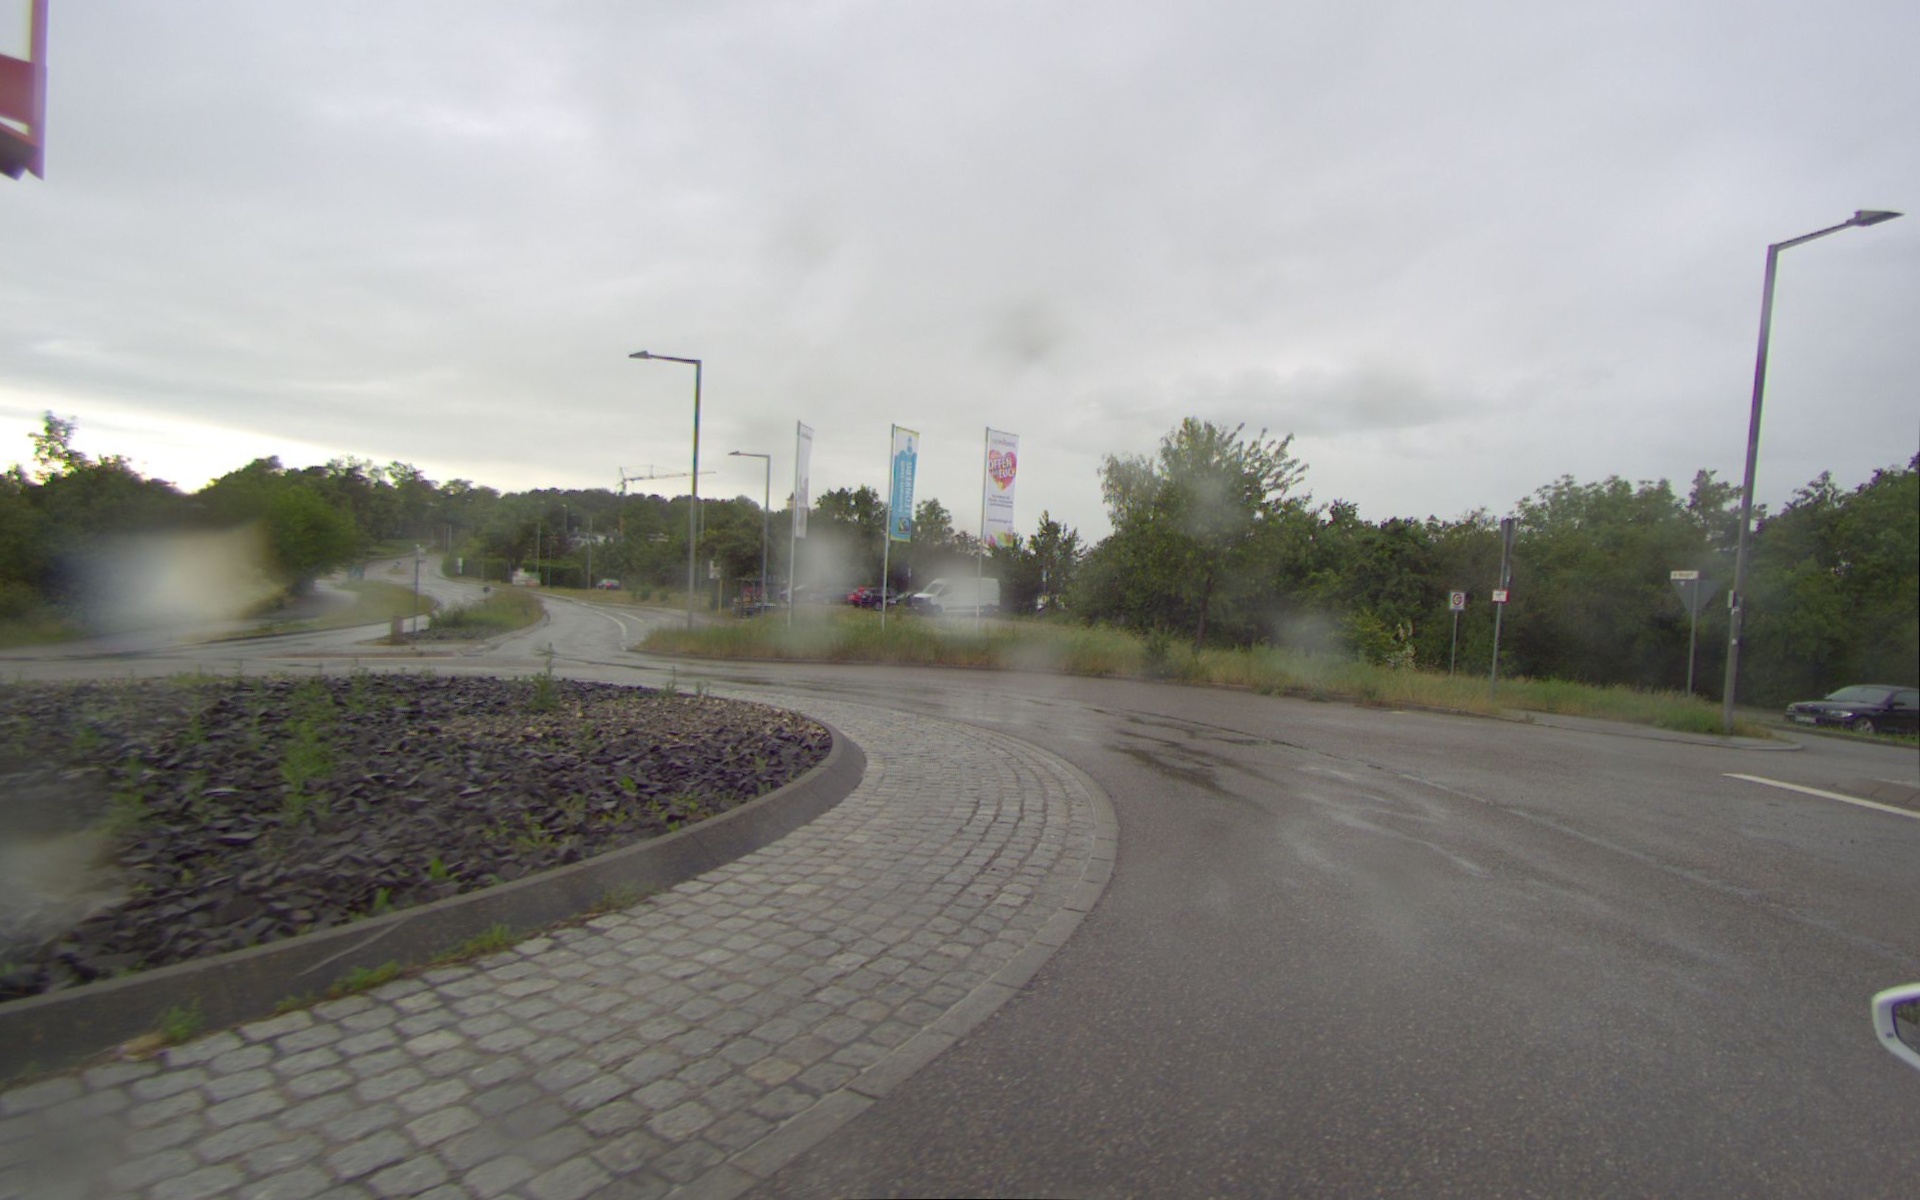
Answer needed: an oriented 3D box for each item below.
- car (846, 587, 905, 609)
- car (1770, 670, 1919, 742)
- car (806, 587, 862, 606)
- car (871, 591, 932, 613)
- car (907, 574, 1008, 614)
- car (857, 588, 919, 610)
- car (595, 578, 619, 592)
[{"bbox_3d":[-6.276,-0.120,74.758,3.954,1.489,1.832,2,1,-31],"label":"car"},{"bbox_3d":[22.824,2.706,25.162,4.118,1.372,1.622,6,0,-11],"label":"car"},{"bbox_3d":[-9.809,-0.261,78.477,3.951,1.382,1.885,-1,2,-29],"label":"car"},{"bbox_3d":[-4.047,0.114,69.656,3.952,1.382,1.640,2,1,-30],"label":"car"},{"bbox_3d":[-0.133,-0.405,65.508,6.510,2.430,2.118,0,3,-35],"label":"car"},{"bbox_3d":[-5.145,-0.081,71.691,3.952,1.382,1.833,2,1,-30],"label":"car"},{"bbox_3d":[-39.676,-1.701,112.818,1.678,1.589,4.502,-2,1,-32],"label":"car"}]
